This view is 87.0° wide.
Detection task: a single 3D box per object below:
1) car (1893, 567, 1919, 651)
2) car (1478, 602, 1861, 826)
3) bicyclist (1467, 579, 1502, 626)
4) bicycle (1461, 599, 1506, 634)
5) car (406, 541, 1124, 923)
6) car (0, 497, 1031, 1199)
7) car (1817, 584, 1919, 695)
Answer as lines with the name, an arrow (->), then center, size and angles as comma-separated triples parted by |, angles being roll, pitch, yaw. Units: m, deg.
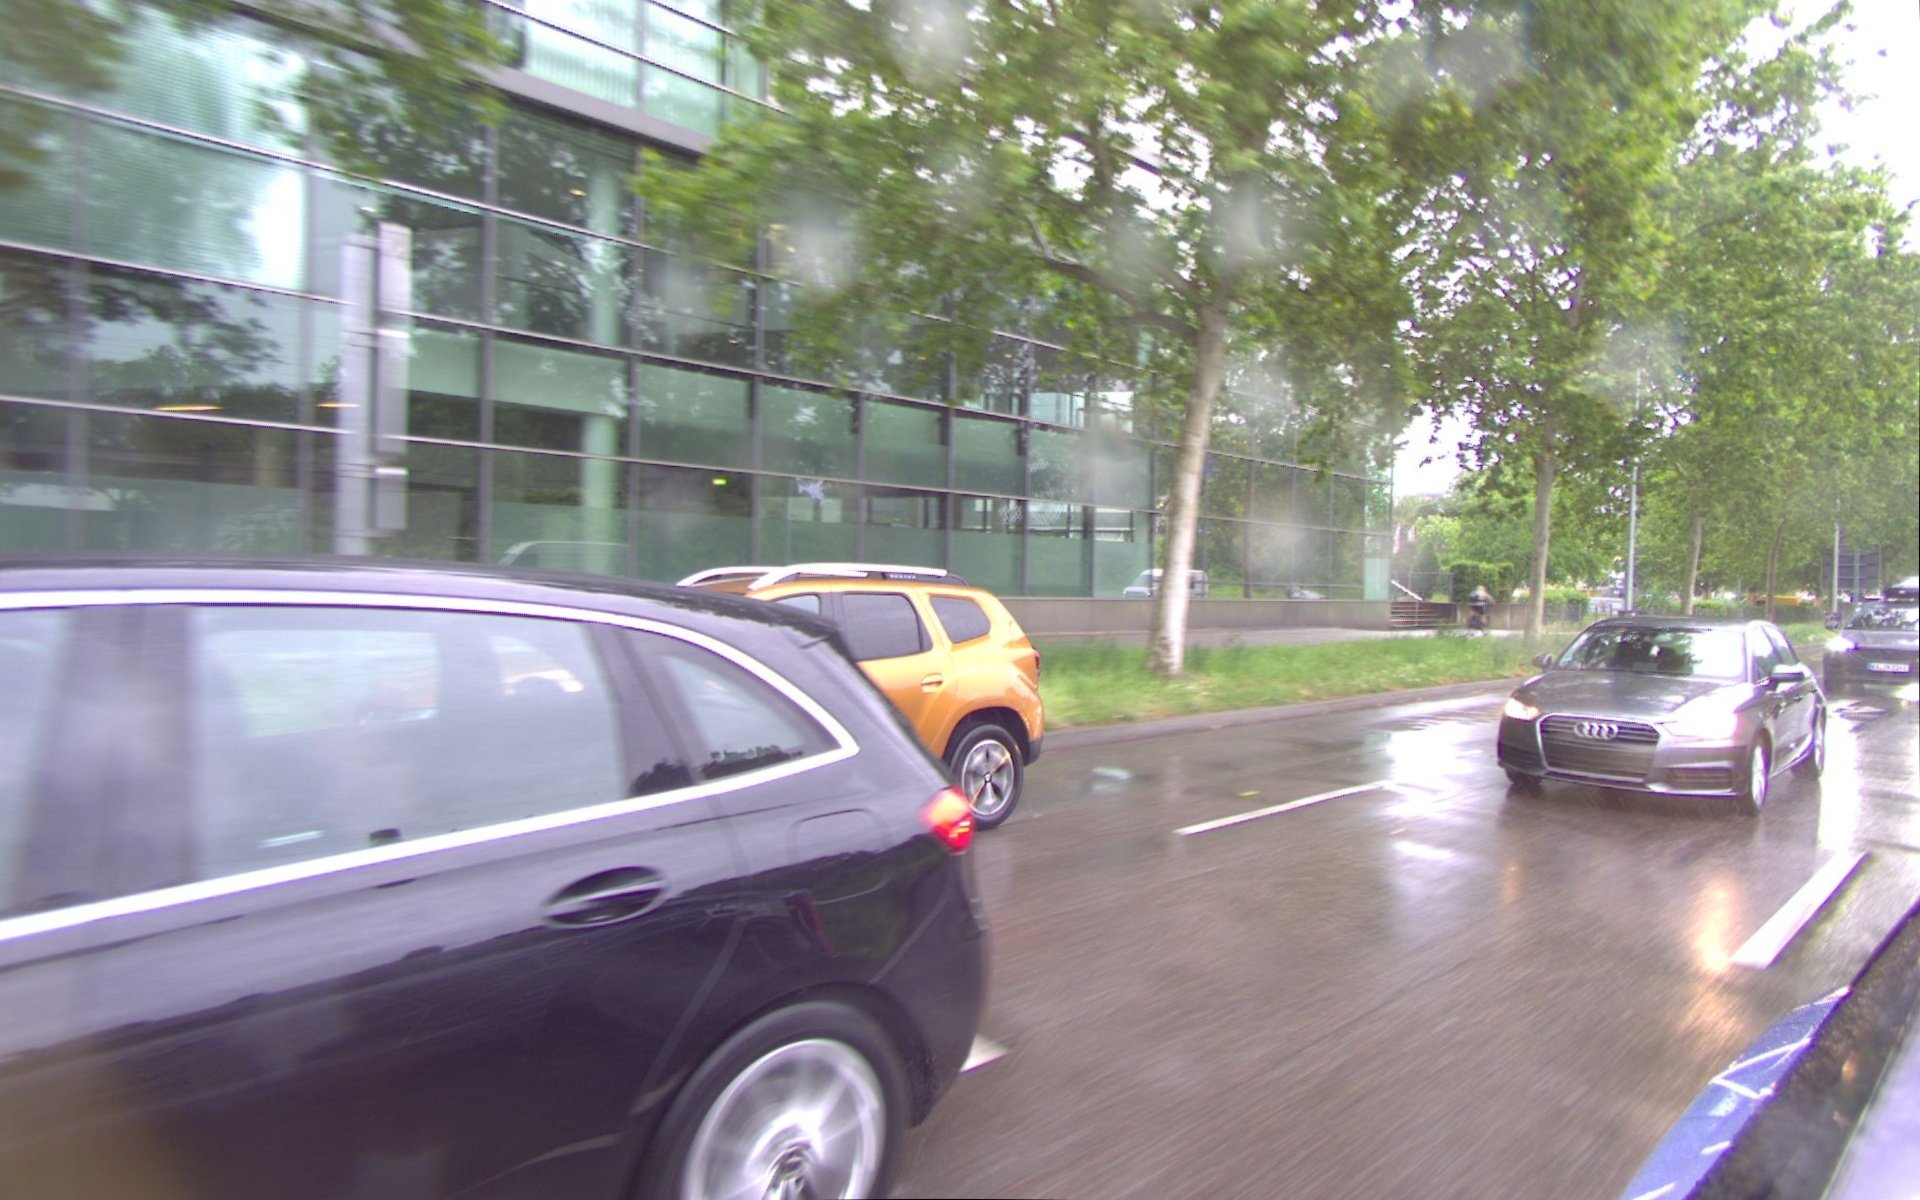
car -> 30.348, 0.270, 31.052 | 4.892, 2.460, 1.997 | 0, 2, -42
car -> 6.028, 0.740, 8.456 | 3.689, 1.416, 1.839 | 0, 0, -42
bicyclist -> 18.104, 0.072, 34.919 | 0.740, 1.533, 0.806 | -1, 4, -44
bicycle -> 18.101, 0.539, 34.971 | 2.042, 1.118, 0.744 | 0, 4, -44
car -> -1.020, 0.539, 6.456 | 4.097, 1.652, 1.903 | 0, 2, -42
car -> -1.983, 0.620, 1.673 | 4.014, 1.542, 1.874 | 0, 2, -40
car -> 16.979, 0.648, 18.041 | 4.253, 1.769, 1.997 | 0, 2, -42
